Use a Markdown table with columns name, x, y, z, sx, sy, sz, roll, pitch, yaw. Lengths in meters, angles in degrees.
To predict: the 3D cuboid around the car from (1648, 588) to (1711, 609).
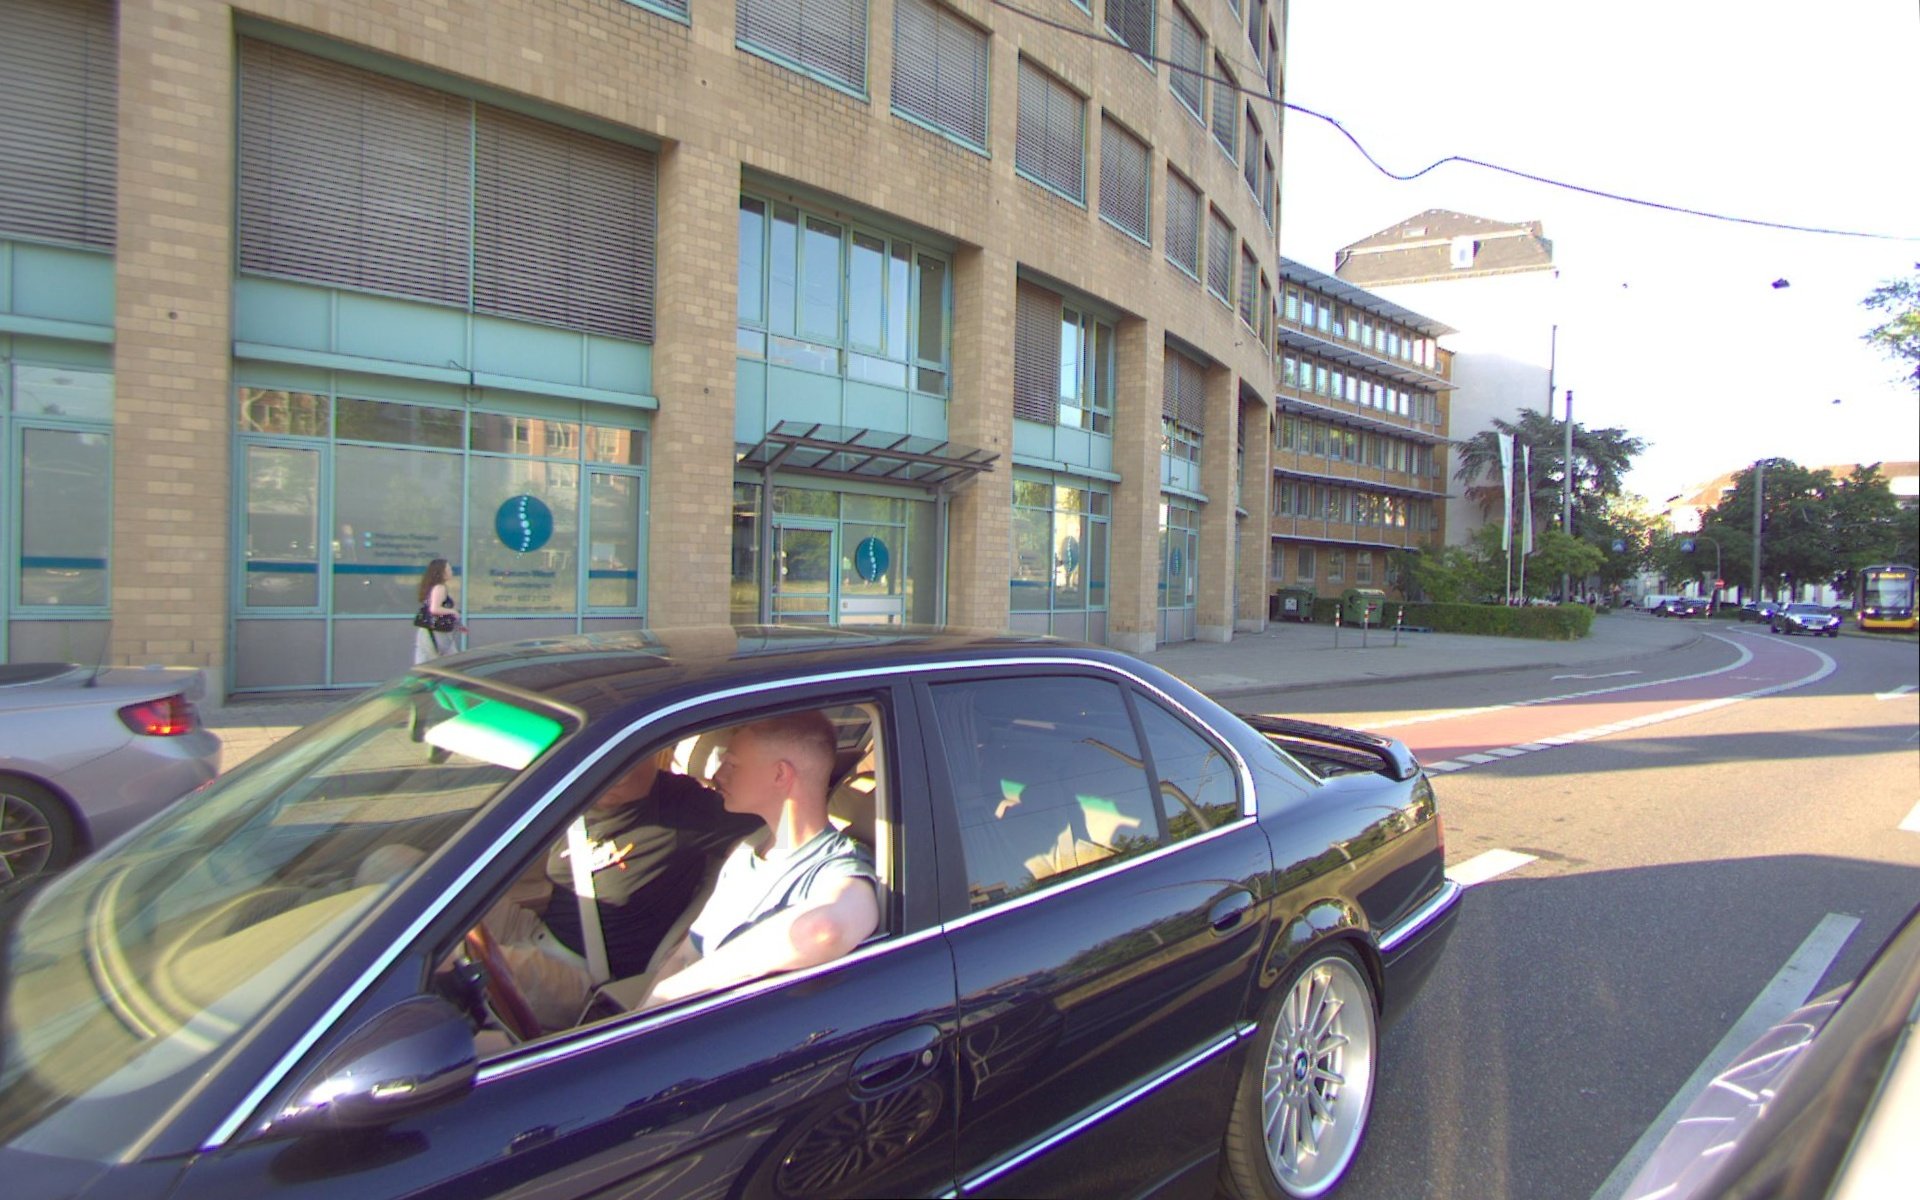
| name | x | y | z | sx | sy | sz | roll | pitch | yaw |
| --- | --- | --- | --- | --- | --- | --- | --- | --- | --- |
| car | 76.680 | -0.192 | 107.889 | 1.932 | 2.047 | 5.078 | 2 | 1 | -39 |

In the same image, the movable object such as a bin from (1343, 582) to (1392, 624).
| name | x | y | z | sx | sy | sz | roll | pitch | yaw |
| --- | --- | --- | --- | --- | --- | --- | --- | --- | --- |
| movable object such as a bin | 14.846 | 0.096 | 36.897 | 1.317 | 1.455 | 0.976 | 2 | 0 | -22 |

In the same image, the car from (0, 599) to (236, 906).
| name | x | y | z | sx | sy | sz | roll | pitch | yaw |
| --- | --- | --- | --- | --- | --- | --- | --- | --- | --- |
| car | -5.894 | 0.681 | 4.497 | 4.192 | 1.371 | 1.786 | 1 | 0 | -41 |

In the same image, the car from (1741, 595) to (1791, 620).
| name | x | y | z | sx | sy | sz | roll | pitch | yaw |
| --- | --- | --- | --- | --- | --- | --- | --- | --- | --- |
| car | 52.290 | 0.486 | 65.725 | 1.805 | 1.501 | 4.093 | 3 | 1 | 29 |

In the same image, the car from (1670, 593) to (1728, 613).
| name | x | y | z | sx | sy | sz | roll | pitch | yaw |
| --- | --- | --- | --- | --- | --- | --- | --- | --- | --- |
| car | 67.539 | 0.253 | 92.502 | 4.055 | 1.571 | 1.969 | 3 | 1 | 43 |

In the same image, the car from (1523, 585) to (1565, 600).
| name | x | y | z | sx | sy | sz | roll | pitch | yaw |
| --- | --- | --- | --- | --- | --- | --- | --- | --- | --- |
| car | 71.747 | -0.905 | 124.397 | 4.356 | 1.633 | 1.713 | 3 | 1 | 27 |

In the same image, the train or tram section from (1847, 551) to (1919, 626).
| name | x | y | z | sx | sy | sz | roll | pitch | yaw |
| --- | --- | --- | --- | --- | --- | --- | --- | --- | --- |
| train or tram section | 50.843 | -0.581 | 53.852 | 13.121 | 3.629 | 2.949 | 0 | 1 | -38 |

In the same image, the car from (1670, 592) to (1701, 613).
| name | x | y | z | sx | sy | sz | roll | pitch | yaw |
| --- | --- | --- | --- | --- | --- | --- | --- | --- | --- |
| car | 56.919 | 0.190 | 79.422 | 1.809 | 1.501 | 4.084 | 2 | 0 | 34 |

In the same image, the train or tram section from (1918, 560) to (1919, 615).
| name | x | y | z | sx | sy | sz | roll | pitch | yaw |
| --- | --- | --- | --- | --- | --- | --- | --- | --- | --- |
| train or tram section | 61.727 | -0.669 | 60.633 | 12.600 | 3.180 | 2.935 | 0 | 1 | -31 |

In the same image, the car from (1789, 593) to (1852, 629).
| name | x | y | z | sx | sy | sz | roll | pitch | yaw |
| --- | --- | --- | --- | --- | --- | --- | --- | --- | --- |
| car | 39.653 | 0.513 | 46.723 | 1.810 | 1.501 | 4.082 | 3 | 1 | 35 |

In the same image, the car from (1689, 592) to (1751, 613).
| name | x | y | z | sx | sy | sz | roll | pitch | yaw |
| --- | --- | --- | --- | --- | --- | --- | --- | --- | --- |
| car | 64.024 | 0.187 | 85.280 | 4.055 | 1.576 | 1.837 | 3 | 1 | 43 |

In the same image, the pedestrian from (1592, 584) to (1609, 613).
| name | x | y | z | sx | sy | sz | roll | pitch | yaw |
| --- | --- | --- | --- | --- | --- | --- | --- | --- | --- |
| pedestrian | 41.685 | -0.113 | 65.892 | 0.805 | 1.814 | 0.593 | 2 | 0 | -30 |

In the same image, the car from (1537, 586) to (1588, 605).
| name | x | y | z | sx | sy | sz | roll | pitch | yaw |
| --- | --- | --- | --- | --- | --- | --- | --- | --- | --- |
| car | 56.953 | -0.405 | 95.690 | 4.034 | 1.589 | 1.818 | 3 | 1 | 30 |

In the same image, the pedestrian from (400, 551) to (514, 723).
| name | x | y | z | sx | sy | sz | roll | pitch | yaw |
| --- | --- | --- | --- | --- | --- | --- | --- | --- | --- |
| pedestrian | -4.928 | 0.338 | 9.910 | 0.786 | 1.589 | 0.677 | 2 | 0 | -43 |

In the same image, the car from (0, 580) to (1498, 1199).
| name | x | y | z | sx | sy | sz | roll | pitch | yaw |
| --- | --- | --- | --- | --- | --- | --- | --- | --- | --- |
| car | -0.669 | 0.673 | 2.249 | 4.560 | 1.371 | 1.833 | 1 | 0 | -42 |

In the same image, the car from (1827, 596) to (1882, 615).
| name | x | y | z | sx | sy | sz | roll | pitch | yaw |
| --- | --- | --- | --- | --- | --- | --- | --- | --- | --- |
| car | 92.524 | 0.535 | 104.705 | 1.672 | 1.746 | 4.007 | 2 | 1 | -42 |

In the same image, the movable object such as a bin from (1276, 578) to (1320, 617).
| name | x | y | z | sx | sy | sz | roll | pitch | yaw |
| --- | --- | --- | --- | --- | --- | --- | --- | --- | --- |
| movable object such as a bin | 13.154 | -0.089 | 39.415 | 1.340 | 1.442 | 0.910 | 3 | 1 | 42 |

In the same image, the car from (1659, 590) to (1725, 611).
| name | x | y | z | sx | sy | sz | roll | pitch | yaw |
| --- | --- | --- | --- | --- | --- | --- | --- | --- | --- |
| car | 75.818 | 0.004 | 104.876 | 2.083 | 1.926 | 5.078 | 2 | 1 | -39 |
